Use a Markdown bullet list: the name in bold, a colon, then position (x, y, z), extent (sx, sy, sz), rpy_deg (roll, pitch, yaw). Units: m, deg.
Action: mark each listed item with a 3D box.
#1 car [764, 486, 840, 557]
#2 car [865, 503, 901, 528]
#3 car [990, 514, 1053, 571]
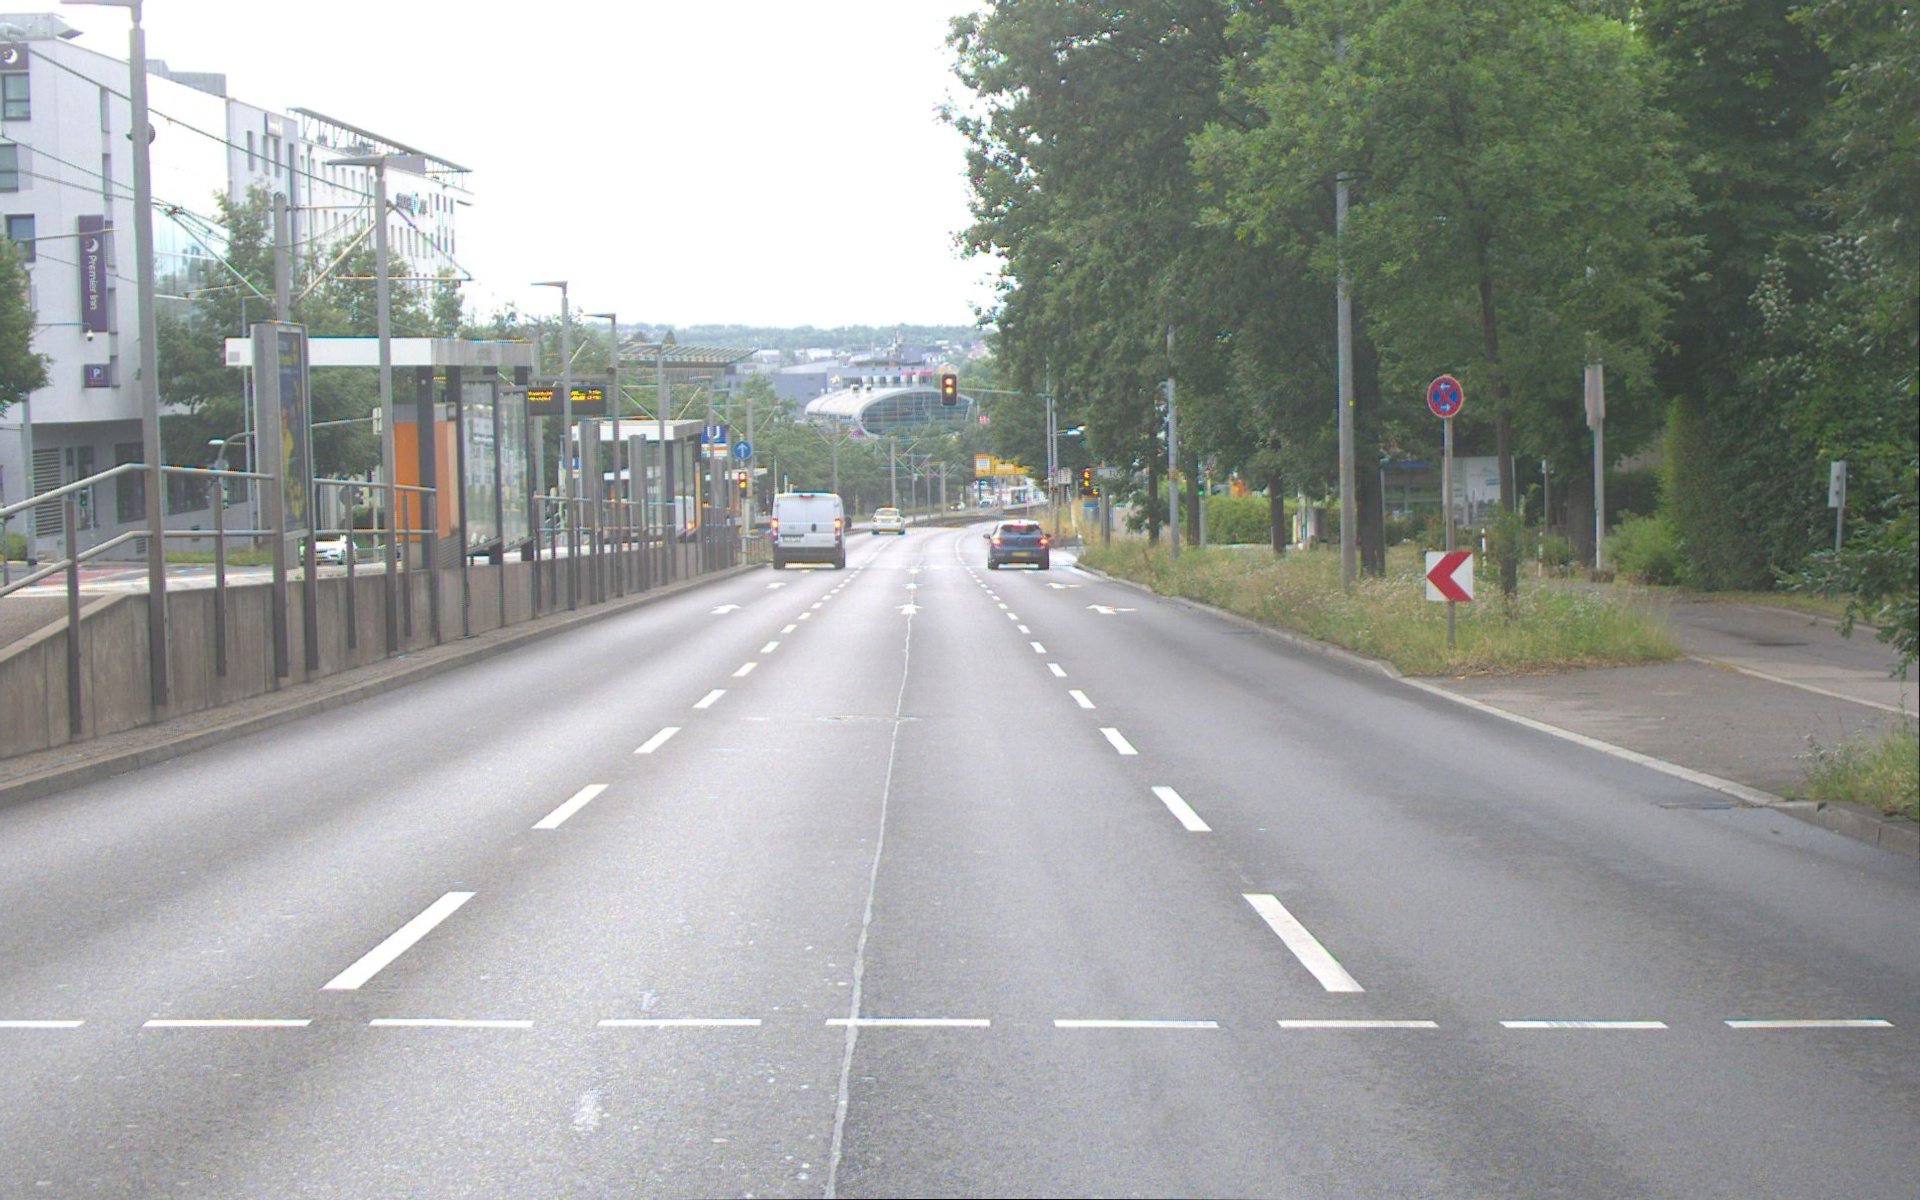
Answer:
- **car**: position (-4.685, -2.338, 102.518), extent (2.093, 2.046, 4.607), rpy_deg (0, 1, -1)
- **car**: position (-4.290, -4.718, 191.830), extent (1.783, 1.385, 4.000), rpy_deg (0, 1, 2)
- **car**: position (1.829, -1.728, 102.788), extent (1.774, 1.685, 3.846), rpy_deg (0, 1, -1)
